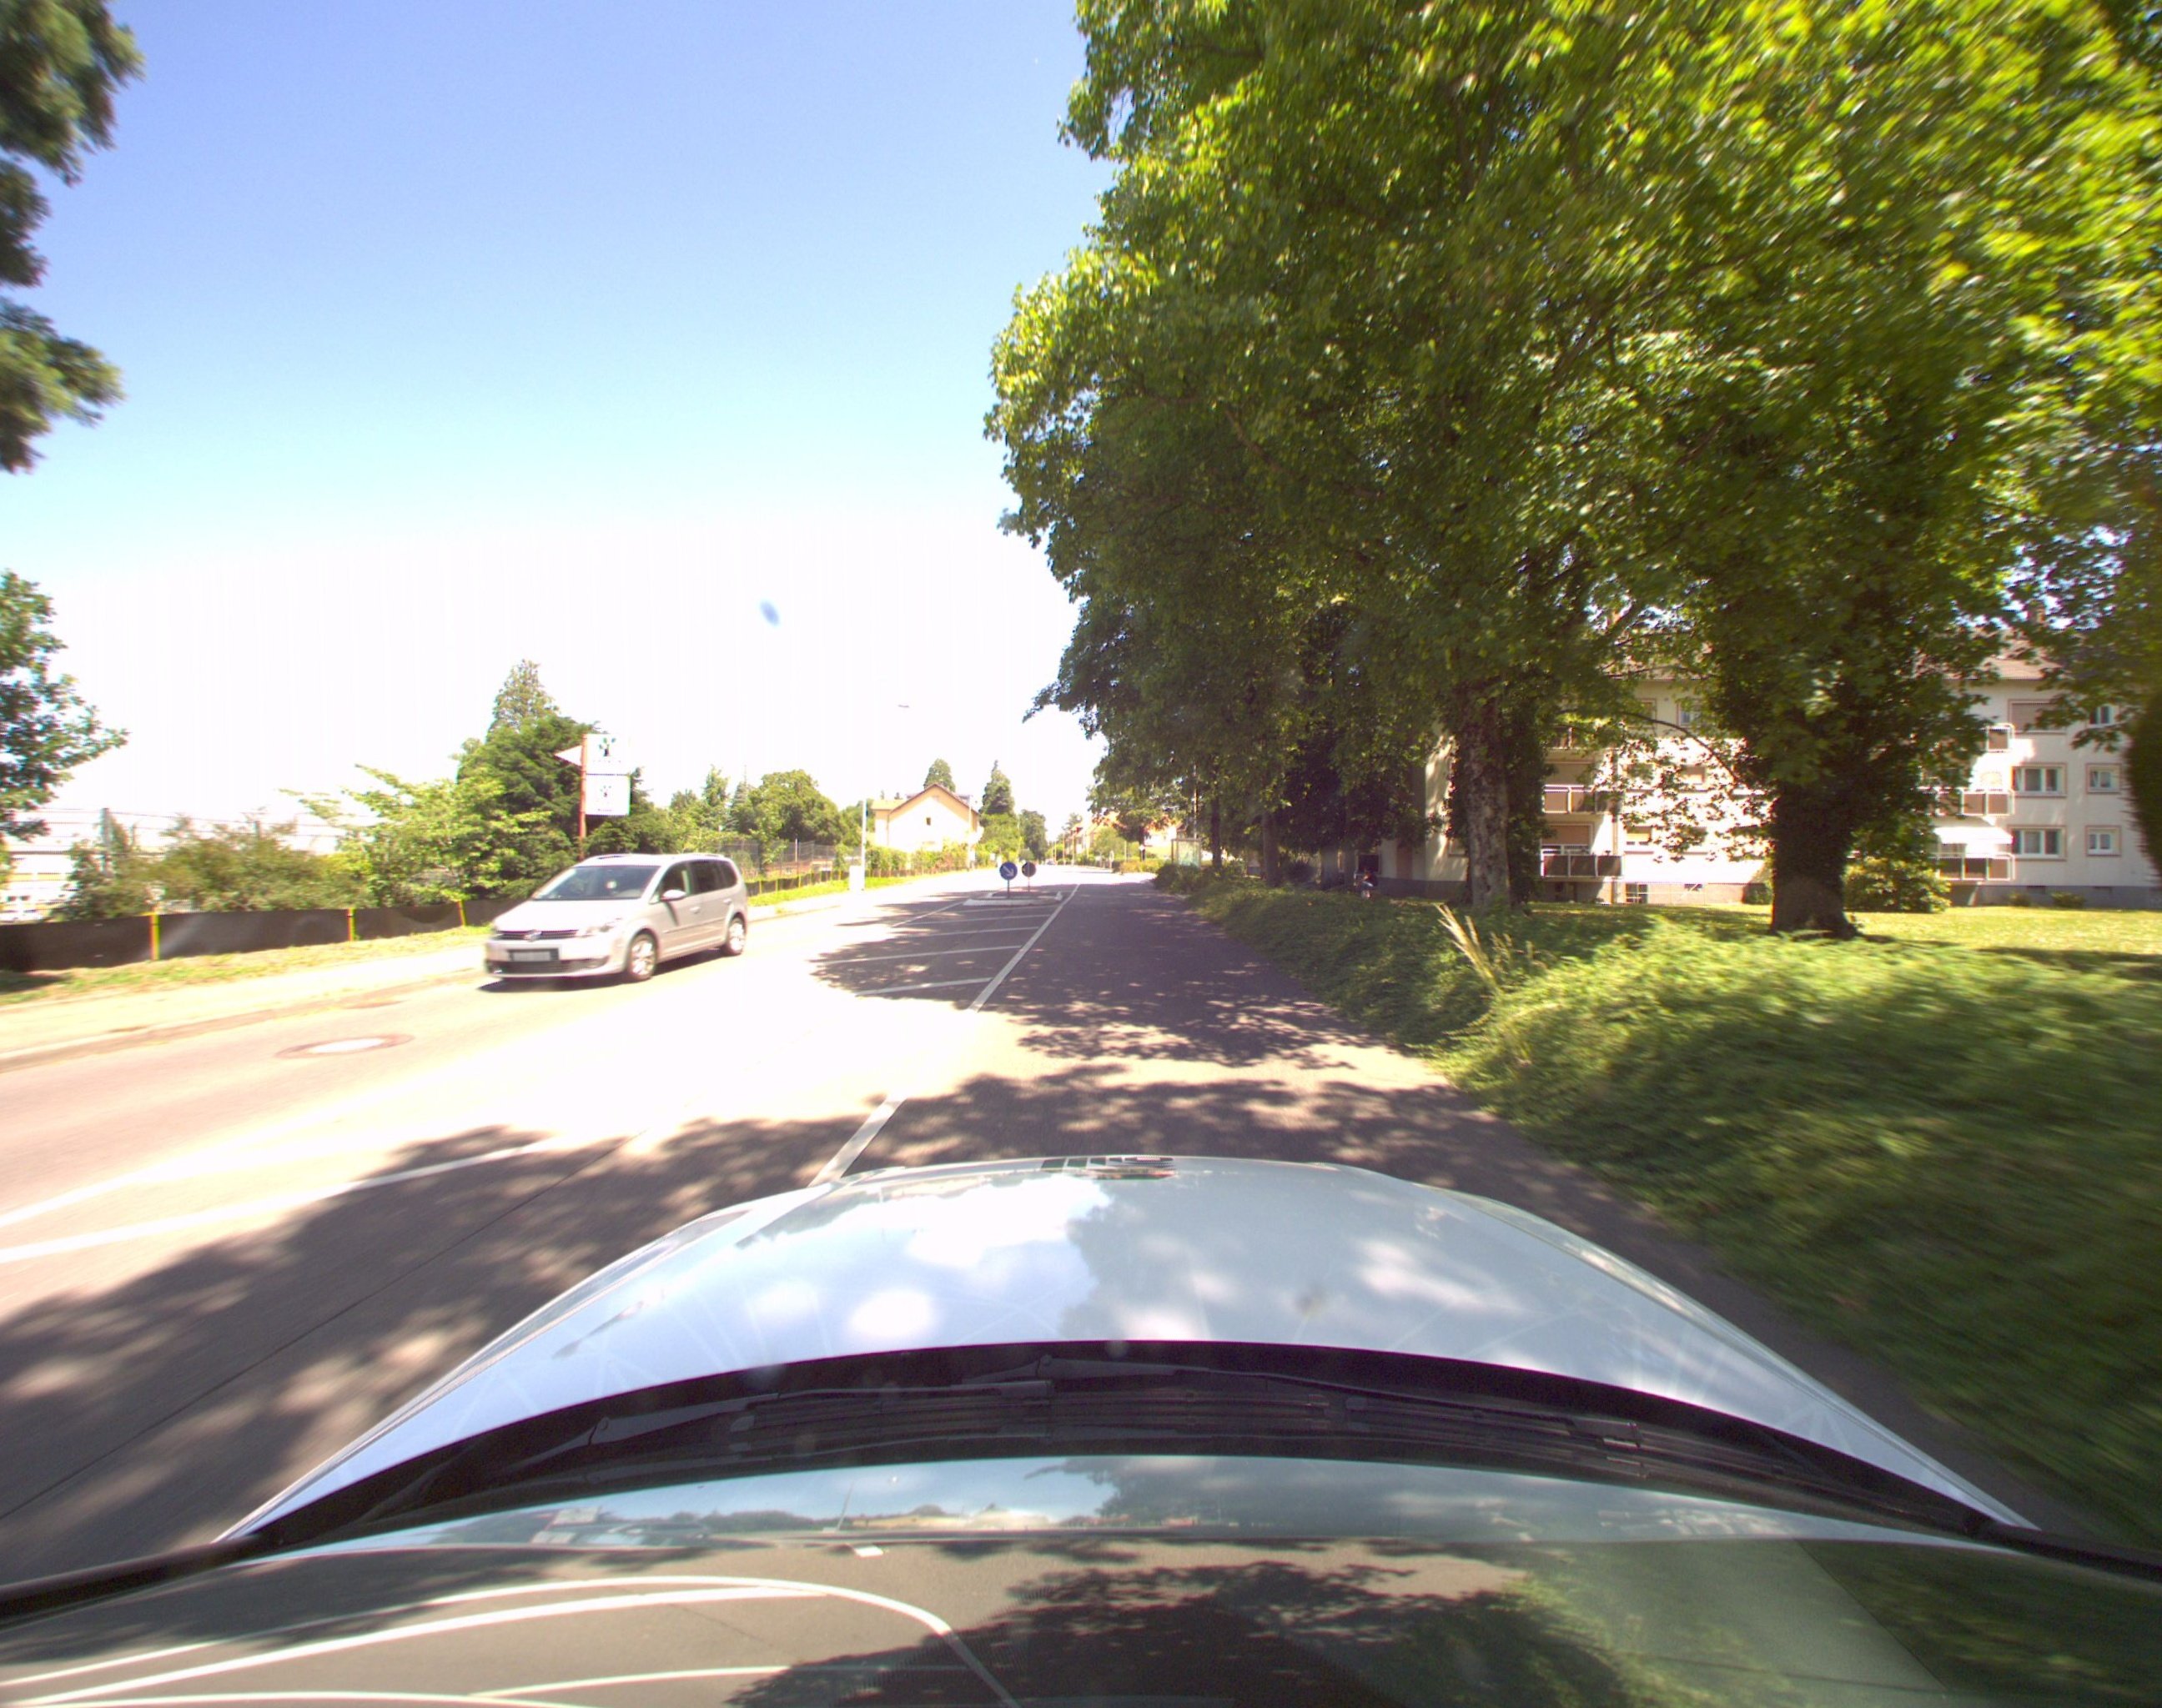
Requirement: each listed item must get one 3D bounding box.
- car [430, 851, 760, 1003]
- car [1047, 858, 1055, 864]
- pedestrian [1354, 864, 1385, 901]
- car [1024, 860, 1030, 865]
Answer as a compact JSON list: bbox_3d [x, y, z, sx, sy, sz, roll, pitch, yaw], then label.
[{"bbox_3d":[-6.346,0.818,11.434,1.777,1.644,4.688,-2,0,0],"label":"car"},{"bbox_3d":[-7.411,1.669,201.307,1.690,1.419,4.541,1,-2,-6],"label":"car"},{"bbox_3d":[10.333,1.007,29.238,0.932,1.293,1.073,0,0,13],"label":"pedestrian"},{"bbox_3d":[-14.354,2.258,217.112,1.677,1.372,4.201,-1,0,-4],"label":"car"}]
